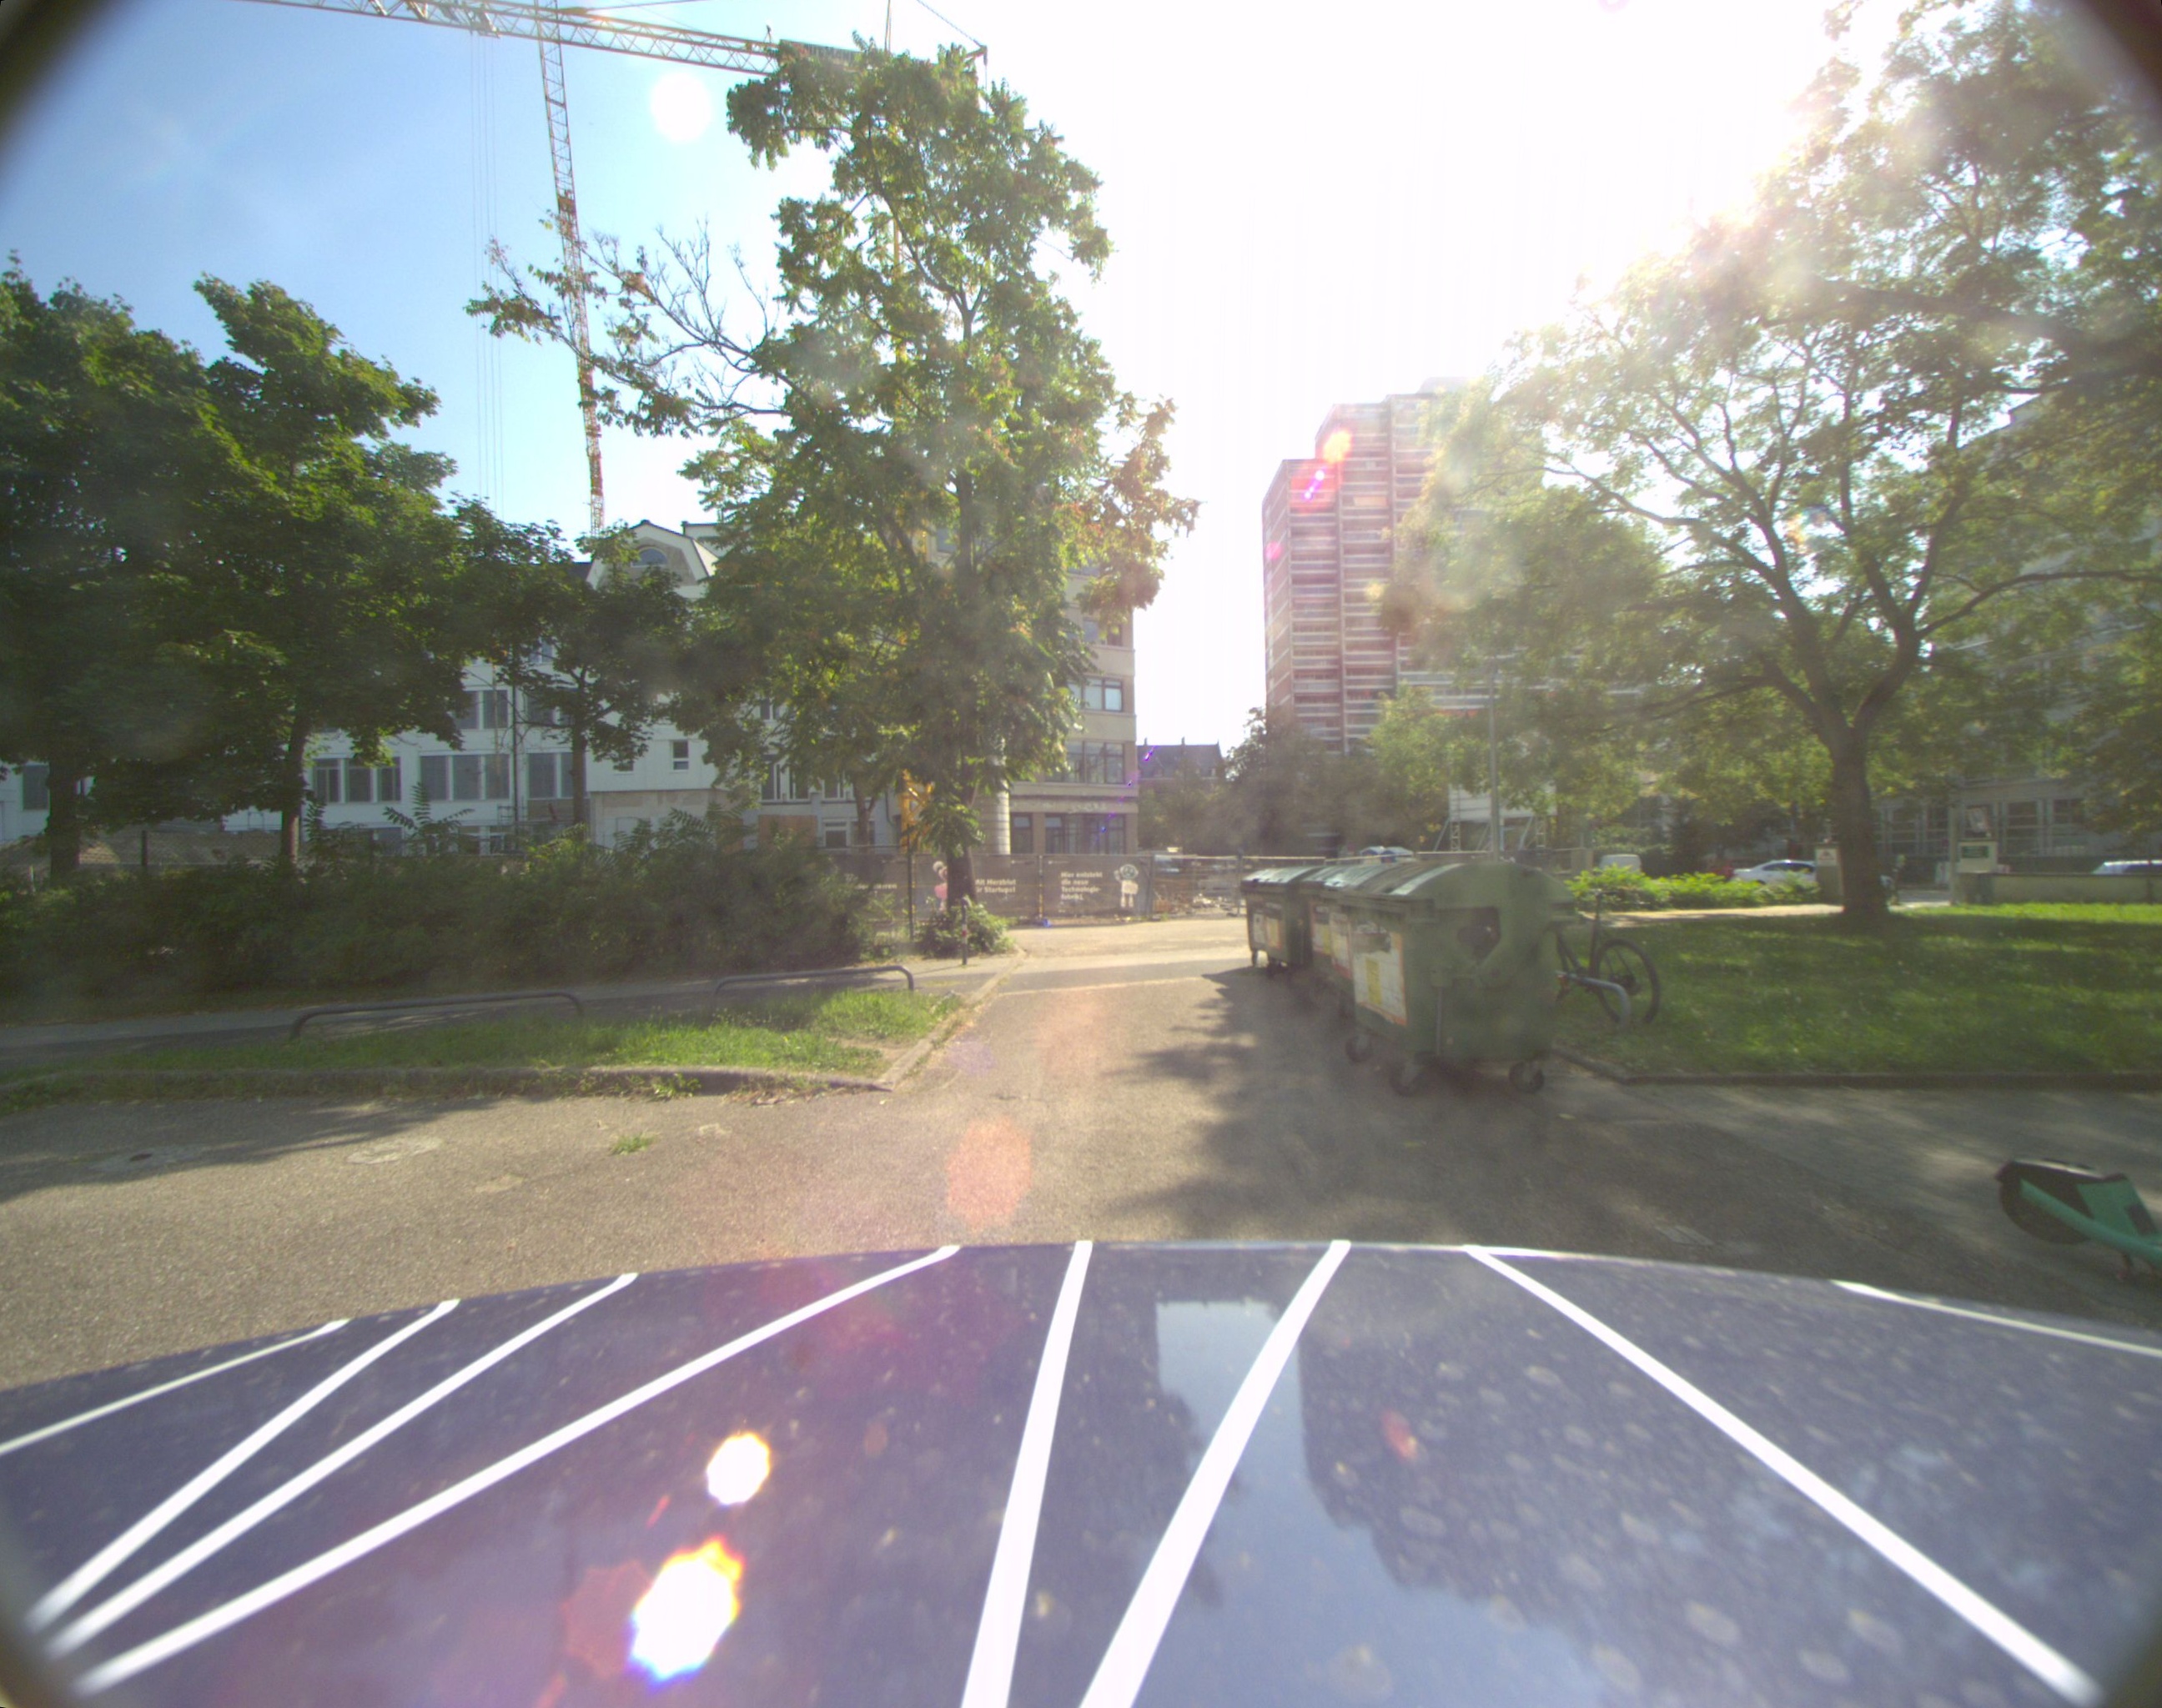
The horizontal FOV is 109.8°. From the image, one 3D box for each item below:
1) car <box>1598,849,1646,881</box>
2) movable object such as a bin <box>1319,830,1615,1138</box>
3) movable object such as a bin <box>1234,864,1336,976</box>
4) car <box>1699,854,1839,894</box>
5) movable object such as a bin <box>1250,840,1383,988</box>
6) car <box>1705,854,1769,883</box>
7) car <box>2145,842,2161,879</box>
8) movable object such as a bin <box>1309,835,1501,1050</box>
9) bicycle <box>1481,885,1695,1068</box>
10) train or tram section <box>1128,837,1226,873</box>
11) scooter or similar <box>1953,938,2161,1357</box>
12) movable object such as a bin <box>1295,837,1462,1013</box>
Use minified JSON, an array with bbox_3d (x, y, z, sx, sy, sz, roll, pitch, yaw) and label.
[{"bbox_3d":[34.285,0.671,48.234,1.861,1.892,4.007,-2,0,27],"label":"car"},{"bbox_3d":[2.397,0.730,4.970,1.184,1.696,1.377,-2,1,-2],"label":"movable object such as a bin"},{"bbox_3d":[2.913,0.907,10.963,1.037,1.489,1.107,-2,1,-9],"label":"movable object such as a bin"},{"bbox_3d":[29.151,0.827,32.335,1.868,1.534,3.992,-1,0,-25],"label":"car"},{"bbox_3d":[2.908,0.694,9.561,1.184,1.696,1.377,-2,1,-2],"label":"movable object such as a bin"},{"bbox_3d":[37.196,0.801,43.192,1.861,1.534,4.007,-2,0,27],"label":"car"},{"bbox_3d":[42.497,0.230,27.872,1.793,1.412,4.004,-2,0,13],"label":"car"},{"bbox_3d":[2.784,0.710,6.757,1.183,1.696,1.395,-2,1,6],"label":"movable object such as a bin"},{"bbox_3d":[4.149,0.914,6.432,0.477,1.206,2.008,-2,0,1],"label":"bicycle"},{"bbox_3d":[9.885,0.212,81.064,2.760,3.551,14.562,-1,0,-26],"label":"train or tram section"},{"bbox_3d":[3.666,0.955,2.179,0.386,1.255,1.493,-2,1,-17],"label":"scooter or similar"},{"bbox_3d":[3.120,0.694,8.154,1.184,1.696,1.377,-2,1,-2],"label":"movable object such as a bin"}]
